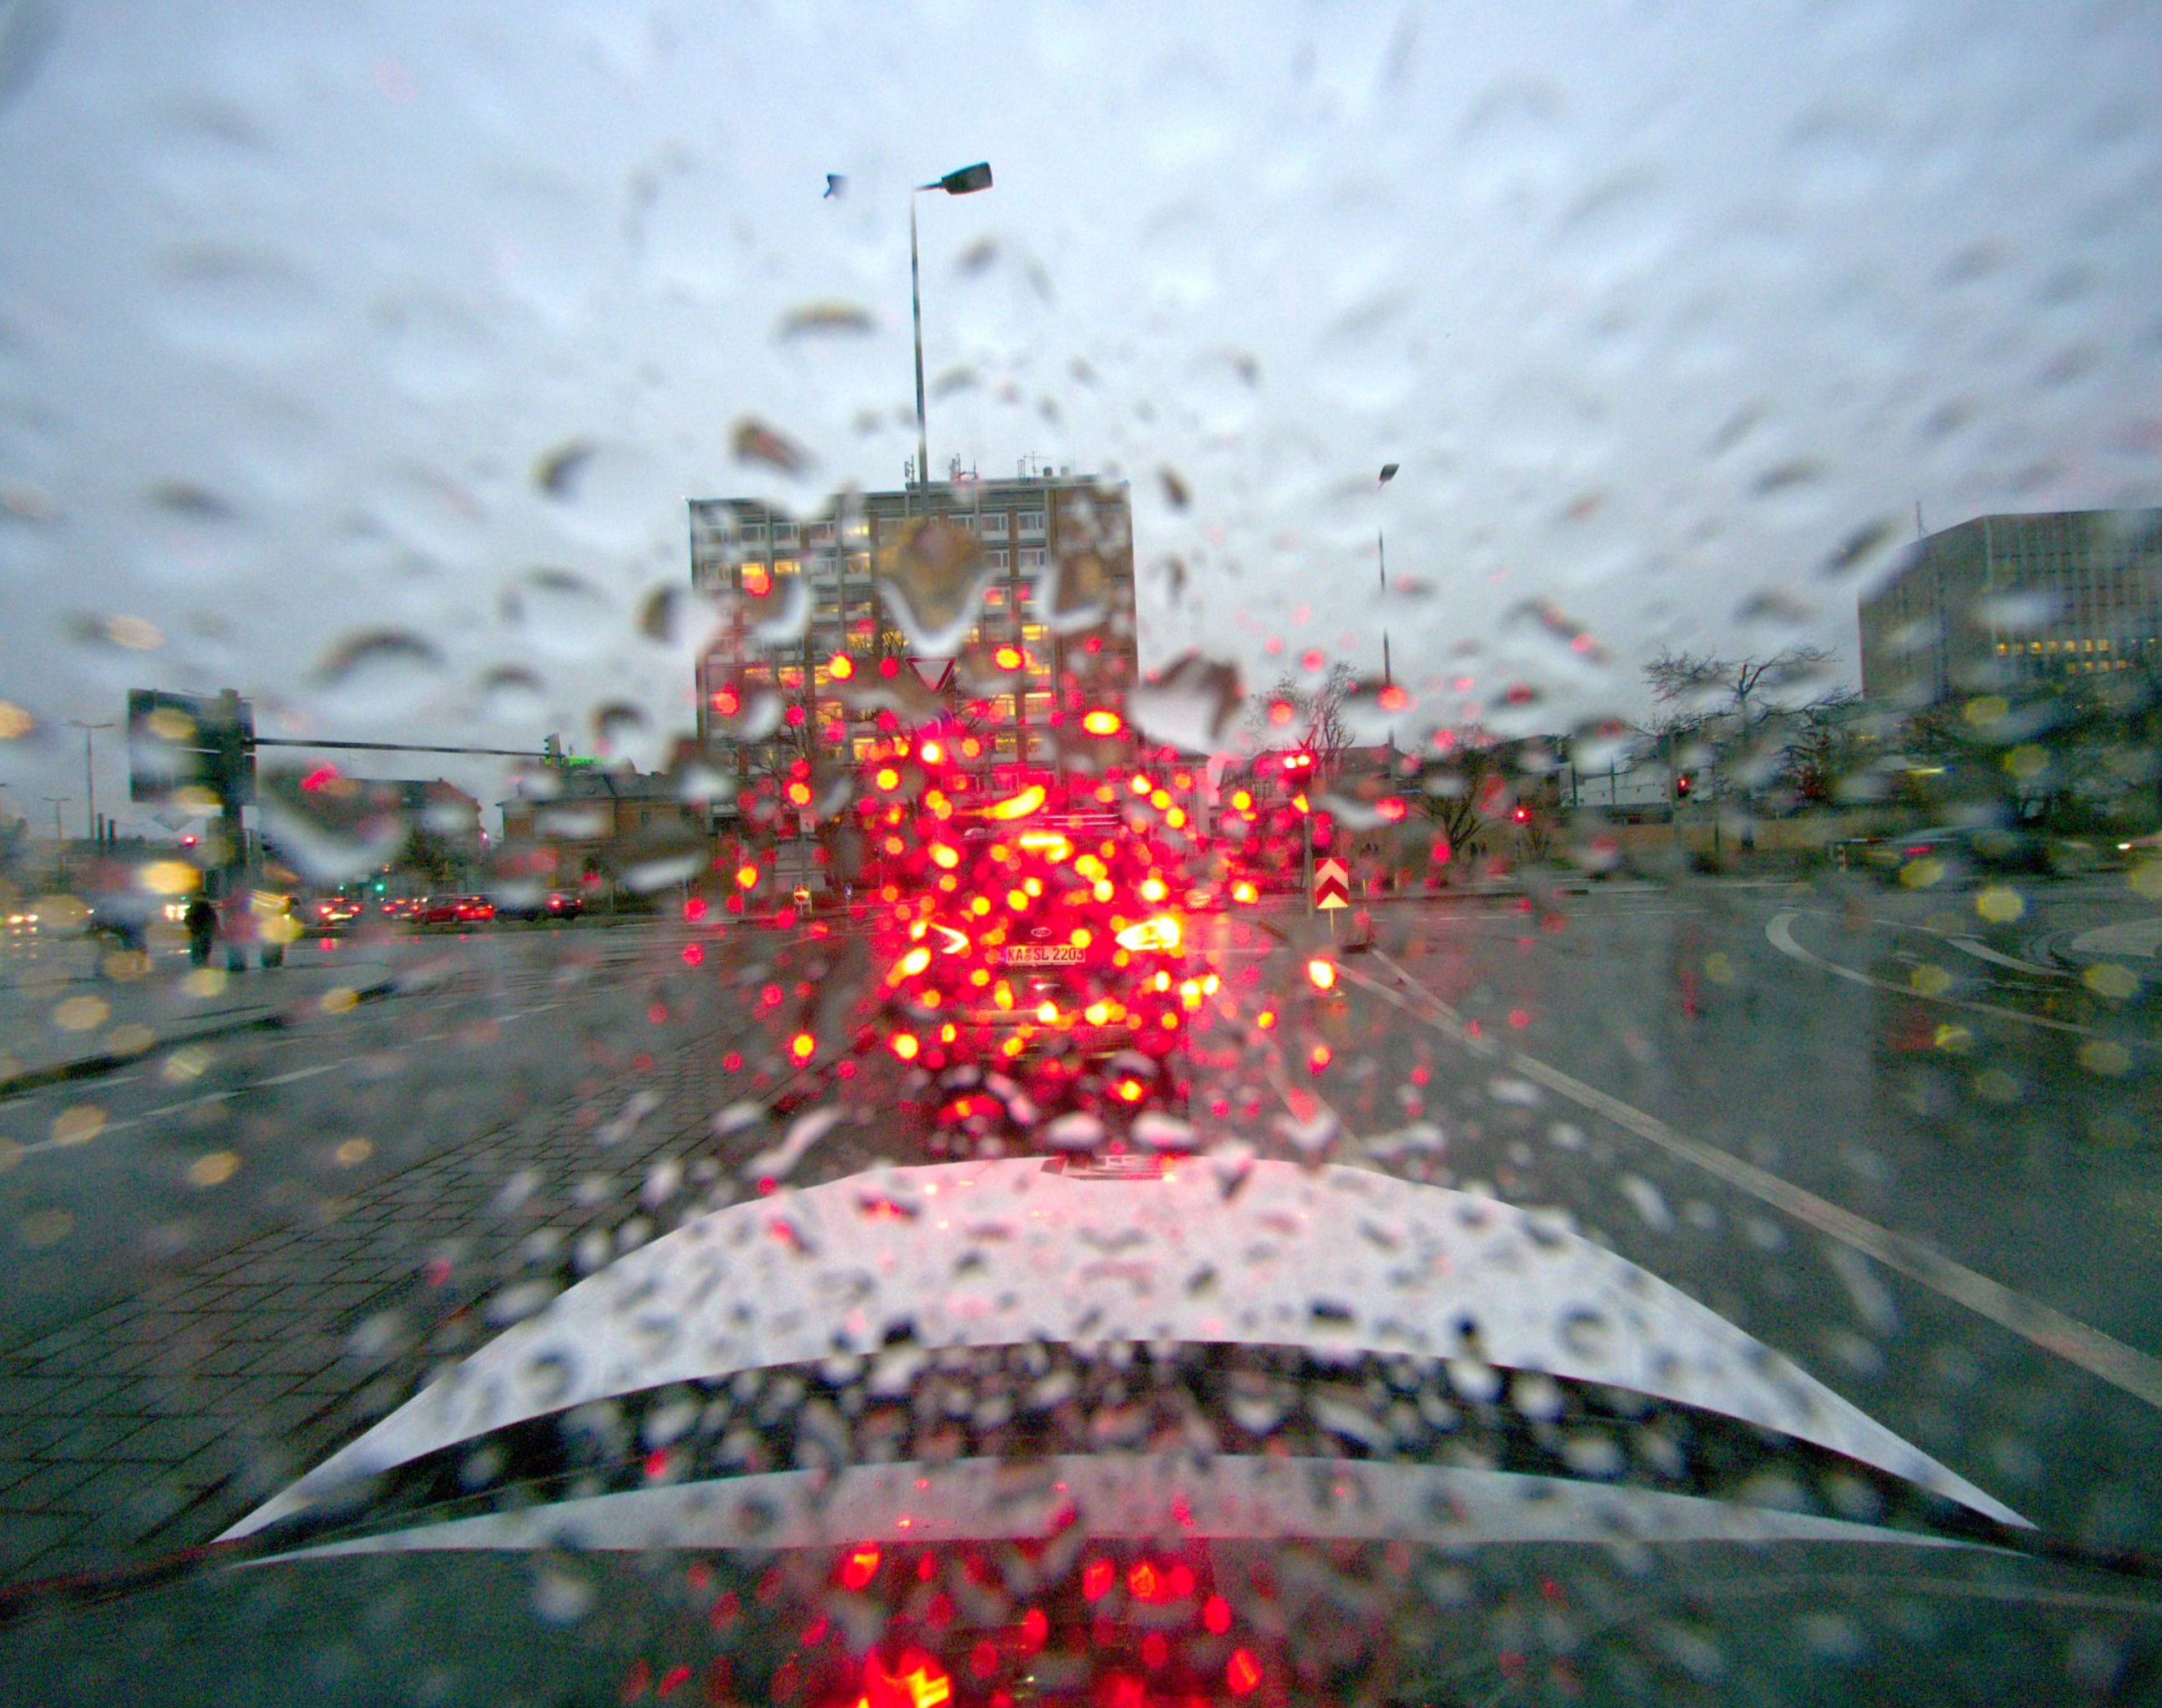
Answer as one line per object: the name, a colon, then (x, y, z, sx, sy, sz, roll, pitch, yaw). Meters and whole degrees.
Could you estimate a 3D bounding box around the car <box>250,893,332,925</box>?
car: (-51.158, 3.529, 52.774, 1.649, 1.826, 3.609, -1, -1, 39)

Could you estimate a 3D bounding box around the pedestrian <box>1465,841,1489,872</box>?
pedestrian: (20.113, 0.125, 41.372, 0.886, 1.533, 0.890, -3, 0, 17)

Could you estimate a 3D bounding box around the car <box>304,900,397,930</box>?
car: (-43.820, 3.619, 48.920, 1.582, 1.482, 3.840, -1, -1, 31)

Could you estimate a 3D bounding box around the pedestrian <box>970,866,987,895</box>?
pedestrian: (-5.961, 1.510, 47.324, 0.754, 1.628, 0.559, -3, 0, 14)

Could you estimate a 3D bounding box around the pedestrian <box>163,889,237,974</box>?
pedestrian: (-19.542, 1.704, 18.076, 0.653, 1.755, 0.856, -3, 0, 18)

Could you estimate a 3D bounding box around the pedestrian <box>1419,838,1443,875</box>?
pedestrian: (17.938, 0.113, 41.806, 0.988, 1.799, 0.924, -3, 0, 19)

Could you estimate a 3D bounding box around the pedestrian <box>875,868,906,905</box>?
pedestrian: (-10.098, 1.713, 43.194, 0.992, 1.842, 1.146, -3, 2, 25)

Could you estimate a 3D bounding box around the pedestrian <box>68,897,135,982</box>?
pedestrian: (-21.473, 1.855, 17.867, 0.746, 1.770, 0.542, -3, 0, -35)

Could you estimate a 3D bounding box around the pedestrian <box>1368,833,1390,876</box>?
pedestrian: (15.281, 0.025, 41.799, 0.887, 2.113, 0.889, -3, 0, 13)

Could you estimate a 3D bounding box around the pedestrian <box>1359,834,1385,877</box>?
pedestrian: (14.544, 0.075, 40.726, 0.890, 2.113, 0.886, -3, 0, 2)

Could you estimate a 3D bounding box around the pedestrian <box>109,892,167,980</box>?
pedestrian: (-20.801, 1.781, 17.983, 0.668, 1.838, 0.739, -3, 0, 44)

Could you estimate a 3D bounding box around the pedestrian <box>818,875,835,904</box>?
pedestrian: (-15.752, 2.192, 50.355, 0.634, 1.688, 0.640, -3, 0, 18)

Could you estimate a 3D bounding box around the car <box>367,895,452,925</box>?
car: (-38.402, 3.173, 46.622, 1.496, 1.461, 3.453, -1, -1, 31)

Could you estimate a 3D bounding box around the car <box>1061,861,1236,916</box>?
car: (1.970, 0.963, 23.198, 4.652, 1.302, 1.945, -3, -1, 12)

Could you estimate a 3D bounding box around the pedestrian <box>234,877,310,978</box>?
pedestrian: (-17.319, 1.550, 17.466, 0.996, 2.021, 0.792, -3, 0, -39)

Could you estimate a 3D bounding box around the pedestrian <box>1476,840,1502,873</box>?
pedestrian: (20.126, 0.118, 40.187, 0.917, 1.533, 1.048, -3, 0, 18)

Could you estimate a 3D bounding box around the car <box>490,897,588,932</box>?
car: (-26.978, 2.984, 40.559, 3.959, 1.568, 1.833, -1, -1, 13)

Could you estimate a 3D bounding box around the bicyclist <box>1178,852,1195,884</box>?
bicyclist: (5.534, 0.719, 42.685, 0.679, 1.599, 0.663, -3, 0, 22)

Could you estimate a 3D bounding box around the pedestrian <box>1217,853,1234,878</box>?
pedestrian: (9.405, 0.747, 52.943, 0.712, 1.628, 0.767, -3, 0, 44)

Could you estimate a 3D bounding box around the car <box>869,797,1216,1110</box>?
car: (-0.163, 0.587, 6.690, 1.986, 1.789, 4.001, 0, -1, 2)

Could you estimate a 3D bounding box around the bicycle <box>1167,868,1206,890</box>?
bicycle: (5.521, 1.305, 42.707, 1.867, 1.048, 0.663, -3, 0, 21)

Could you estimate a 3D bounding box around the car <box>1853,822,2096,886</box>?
car: (21.636, 0.008, 19.865, 3.733, 1.302, 1.705, -3, -1, 8)

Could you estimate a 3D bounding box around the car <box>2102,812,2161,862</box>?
car: (33.967, -0.613, 24.343, 4.394, 1.477, 1.812, -3, -1, 3)

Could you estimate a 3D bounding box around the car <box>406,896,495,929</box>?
car: (-33.328, 3.052, 43.078, 3.954, 1.568, 1.836, -1, -1, 20)
